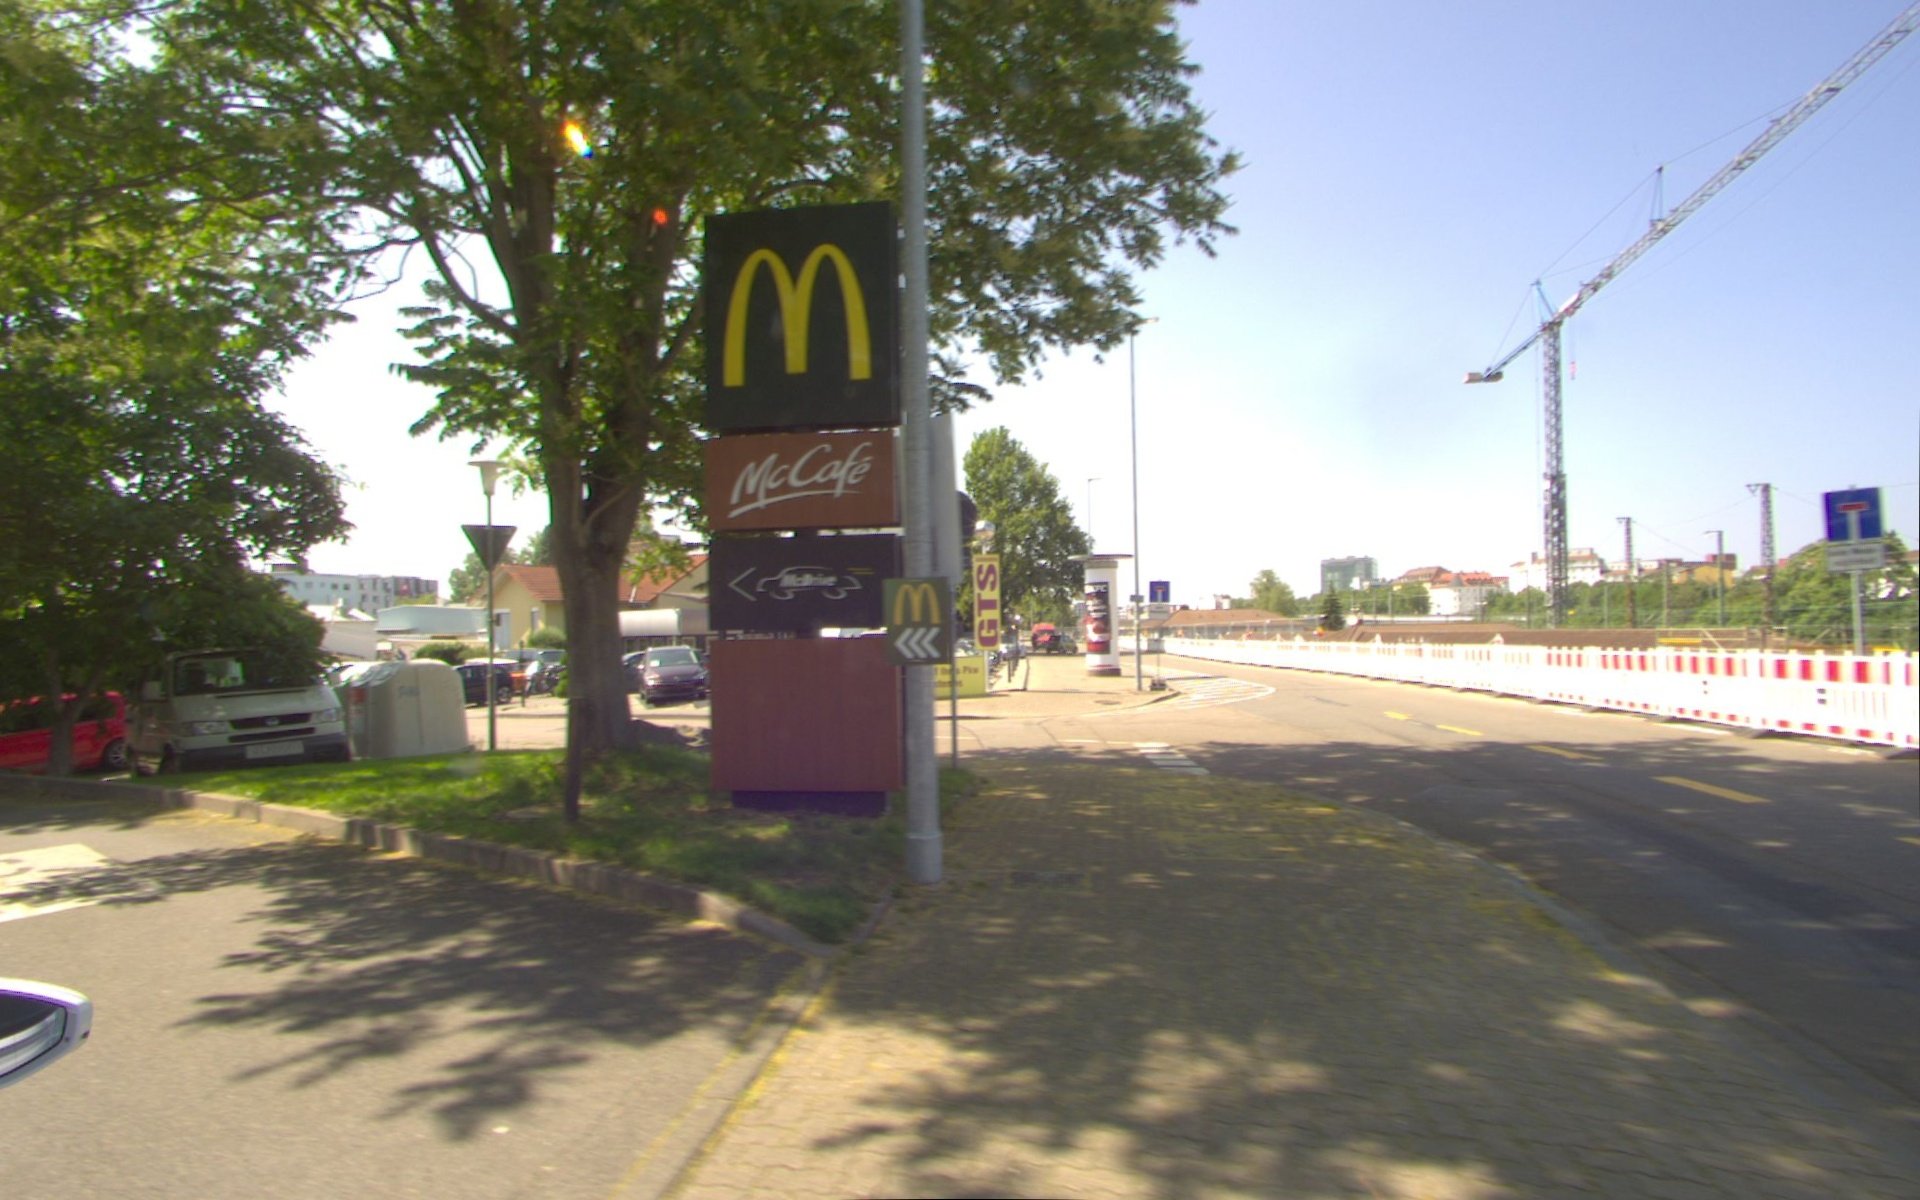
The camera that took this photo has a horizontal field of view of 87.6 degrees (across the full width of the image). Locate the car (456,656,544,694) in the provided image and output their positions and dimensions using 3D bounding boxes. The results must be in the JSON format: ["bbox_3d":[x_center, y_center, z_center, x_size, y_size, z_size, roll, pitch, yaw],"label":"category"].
[{"bbox_3d":[-20.779,3.354,45.187,3.949,1.604,1.988,-2,-3,37],"label":"car"}]

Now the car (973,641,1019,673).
[{"bbox_3d":[1.945,3.134,55.486,1.827,1.649,4.000,0,-2,-9],"label":"car"}]

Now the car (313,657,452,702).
[{"bbox_3d":[-23.644,3.215,41.192,1.969,1.746,4.640,-2,-4,27],"label":"car"}]

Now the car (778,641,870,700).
[{"bbox_3d":[-4.121,2.051,29.792,2.017,1.614,4.418,1,-3,-17],"label":"car"}]

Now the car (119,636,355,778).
[{"bbox_3d":[-10.138,1.316,13.862,1.940,1.603,4.982,2,-3,-44],"label":"car"}]

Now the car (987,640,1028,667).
[{"bbox_3d":[2.987,3.389,63.691,1.827,1.649,4.000,0,-2,-9],"label":"car"}]

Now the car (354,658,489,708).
[{"bbox_3d":[-19.915,3.036,37.187,1.973,1.727,3.979,-2,-3,34],"label":"car"}]

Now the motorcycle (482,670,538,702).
[{"bbox_3d":[-17.615,3.347,39.237,1.857,1.173,0.782,2,-3,-44],"label":"motorcycle"}]

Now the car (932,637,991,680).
[{"bbox_3d":[0.023,2.403,41.573,1.827,1.649,4.000,0,-2,-9],"label":"car"}]

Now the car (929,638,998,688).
[{"bbox_3d":[0.050,2.216,35.765,1.827,1.649,4.000,0,-2,-9],"label":"car"}]

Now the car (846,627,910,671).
[{"bbox_3d":[-3.422,2.068,42.696,1.847,1.760,4.724,0,-2,6],"label":"car"}]

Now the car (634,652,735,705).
[{"bbox_3d":[-8.430,2.394,31.025,1.759,1.528,4.003,0,-3,4],"label":"car"}]

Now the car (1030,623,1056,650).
[{"bbox_3d":[8.187,3.618,98.278,2.496,2.551,5.121,0,-3,5],"label":"car"}]

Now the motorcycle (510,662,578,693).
[{"bbox_3d":[-17.741,3.286,42.776,0.983,1.242,2.710,-1,-3,26],"label":"motorcycle"}]

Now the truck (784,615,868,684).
[{"bbox_3d":[-5.968,2.231,45.551,2.232,2.940,5.945,0,-2,8],"label":"truck"}]

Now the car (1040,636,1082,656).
[{"bbox_3d":[8.513,3.870,84.205,3.241,1.657,1.715,2,-3,-36],"label":"car"}]

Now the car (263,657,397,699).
[{"bbox_3d":[-27.695,3.391,44.167,1.969,1.746,4.640,-2,-4,27],"label":"car"}]

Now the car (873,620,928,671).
[{"bbox_3d":[-2.830,2.217,48.711,2.101,2.313,4.713,-1,-2,4],"label":"car"}]

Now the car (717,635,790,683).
[{"bbox_3d":[-9.270,2.662,45.285,1.961,2.038,4.499,0,-3,6],"label":"car"}]

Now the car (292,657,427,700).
[{"bbox_3d":[-25.642,3.317,42.942,1.969,1.746,4.640,-2,-4,27],"label":"car"}]

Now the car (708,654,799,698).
[{"bbox_3d":[-7.524,2.744,36.843,1.760,1.505,3.999,-1,-3,13],"label":"car"}]

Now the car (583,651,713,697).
[{"bbox_3d":[-11.528,2.688,37.067,4.277,1.604,1.989,2,-3,-32],"label":"car"}]

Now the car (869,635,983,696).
[{"bbox_3d":[-1.134,2.000,31.127,1.971,1.747,3.983,1,-3,-29],"label":"car"}]

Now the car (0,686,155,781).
[{"bbox_3d":[-16.534,2.356,17.666,1.467,1.397,3.393,0,0,36],"label":"car"}]
